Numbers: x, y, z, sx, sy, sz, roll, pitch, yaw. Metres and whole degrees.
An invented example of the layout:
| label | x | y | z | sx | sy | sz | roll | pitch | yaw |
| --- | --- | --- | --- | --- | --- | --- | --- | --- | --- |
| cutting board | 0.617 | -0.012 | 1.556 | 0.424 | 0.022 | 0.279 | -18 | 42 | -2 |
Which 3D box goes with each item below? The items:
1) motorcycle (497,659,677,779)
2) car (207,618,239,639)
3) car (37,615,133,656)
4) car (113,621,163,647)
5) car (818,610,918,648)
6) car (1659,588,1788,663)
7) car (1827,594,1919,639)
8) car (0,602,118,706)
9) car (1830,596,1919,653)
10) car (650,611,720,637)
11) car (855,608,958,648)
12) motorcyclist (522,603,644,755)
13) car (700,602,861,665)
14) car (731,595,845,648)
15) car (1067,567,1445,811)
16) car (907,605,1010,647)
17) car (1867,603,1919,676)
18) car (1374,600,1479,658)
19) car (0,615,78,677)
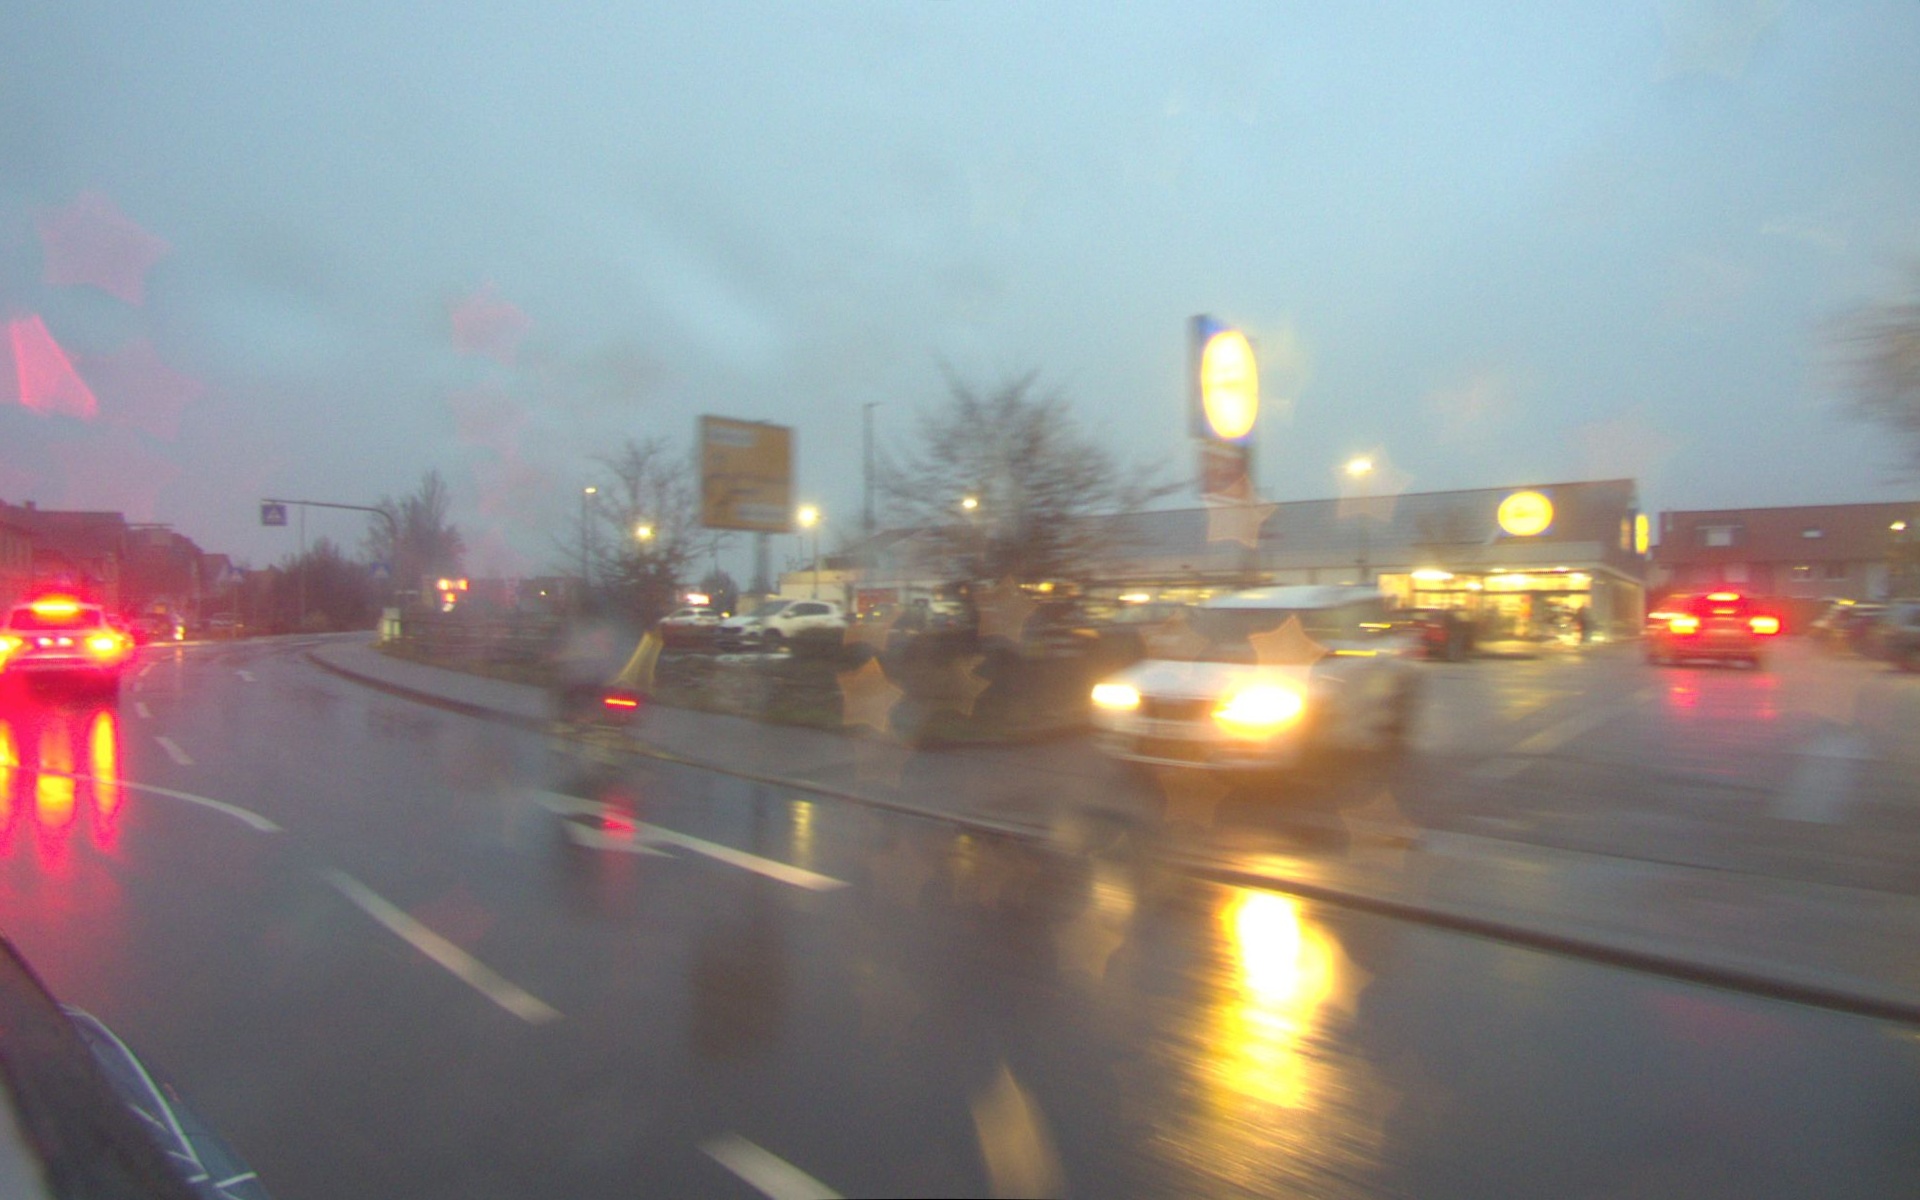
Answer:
| label | x | y | z | sx | sy | sz | roll | pitch | yaw |
| --- | --- | --- | --- | --- | --- | --- | --- | --- | --- |
| motorcycle | -3.945 | 1.185 | 10.613 | 2.108 | 1.031 | 0.857 | -1 | 0 | 40 |
| car | -65.458 | 2.539 | 89.937 | 1.916 | 1.819 | 4.185 | -1 | -1 | -31 |
| car | -34.680 | 1.376 | 40.233 | 1.965 | 1.484 | 4.013 | -1 | -1 | -27 |
| car | -49.474 | 2.051 | 60.991 | 1.747 | 1.441 | 3.808 | -1 | -1 | -30 |
| car | -3.959 | 1.294 | 44.208 | 2.051 | 1.575 | 4.391 | -2 | -3 | 35 |
| car | 18.772 | 0.632 | 25.077 | 1.961 | 1.684 | 4.376 | -2 | -2 | 30 |
| car | 37.049 | 0.637 | 39.919 | 3.987 | 1.629 | 1.897 | -3 | -1 | 33 |
| car | -17.000 | 0.936 | 18.902 | 1.750 | 1.736 | 4.426 | 0 | -1 | -43 |
| car | 29.574 | 0.709 | 31.100 | 3.987 | 1.629 | 1.897 | -3 | -1 | 33 |
| car | -16.843 | 1.450 | 61.830 | 4.781 | 1.548 | 1.666 | 0 | -1 | 39 |
| car | -2.191 | 1.218 | 42.489 | 2.051 | 1.575 | 4.391 | -2 | -3 | 35 |
| motorcyclist | -3.949 | 0.783 | 10.610 | 0.908 | 1.496 | 0.857 | -1 | 0 | 40 |
| car | -5.254 | 0.941 | 30.232 | 2.028 | 1.725 | 4.729 | -1 | -1 | 35 |
| car | -7.881 | 1.042 | 46.850 | 2.214 | 2.300 | 5.140 | -2 | -3 | 35 |
| car | 2.997 | 0.611 | 9.612 | 1.898 | 1.712 | 4.184 | -1 | 2 | 40 |
| car | -0.003 | 1.101 | 41.343 | 2.051 | 1.575 | 4.391 | -2 | -3 | 35 |
| car | 23.793 | 0.850 | 23.287 | 3.987 | 1.629 | 1.897 | -3 | -1 | 33 |
| car | 13.828 | 0.878 | 29.871 | 2.051 | 1.575 | 4.391 | -2 | -3 | 35 |
| car | -24.464 | 1.156 | 26.478 | 1.640 | 1.497 | 4.010 | 0 | -1 | -35 |
